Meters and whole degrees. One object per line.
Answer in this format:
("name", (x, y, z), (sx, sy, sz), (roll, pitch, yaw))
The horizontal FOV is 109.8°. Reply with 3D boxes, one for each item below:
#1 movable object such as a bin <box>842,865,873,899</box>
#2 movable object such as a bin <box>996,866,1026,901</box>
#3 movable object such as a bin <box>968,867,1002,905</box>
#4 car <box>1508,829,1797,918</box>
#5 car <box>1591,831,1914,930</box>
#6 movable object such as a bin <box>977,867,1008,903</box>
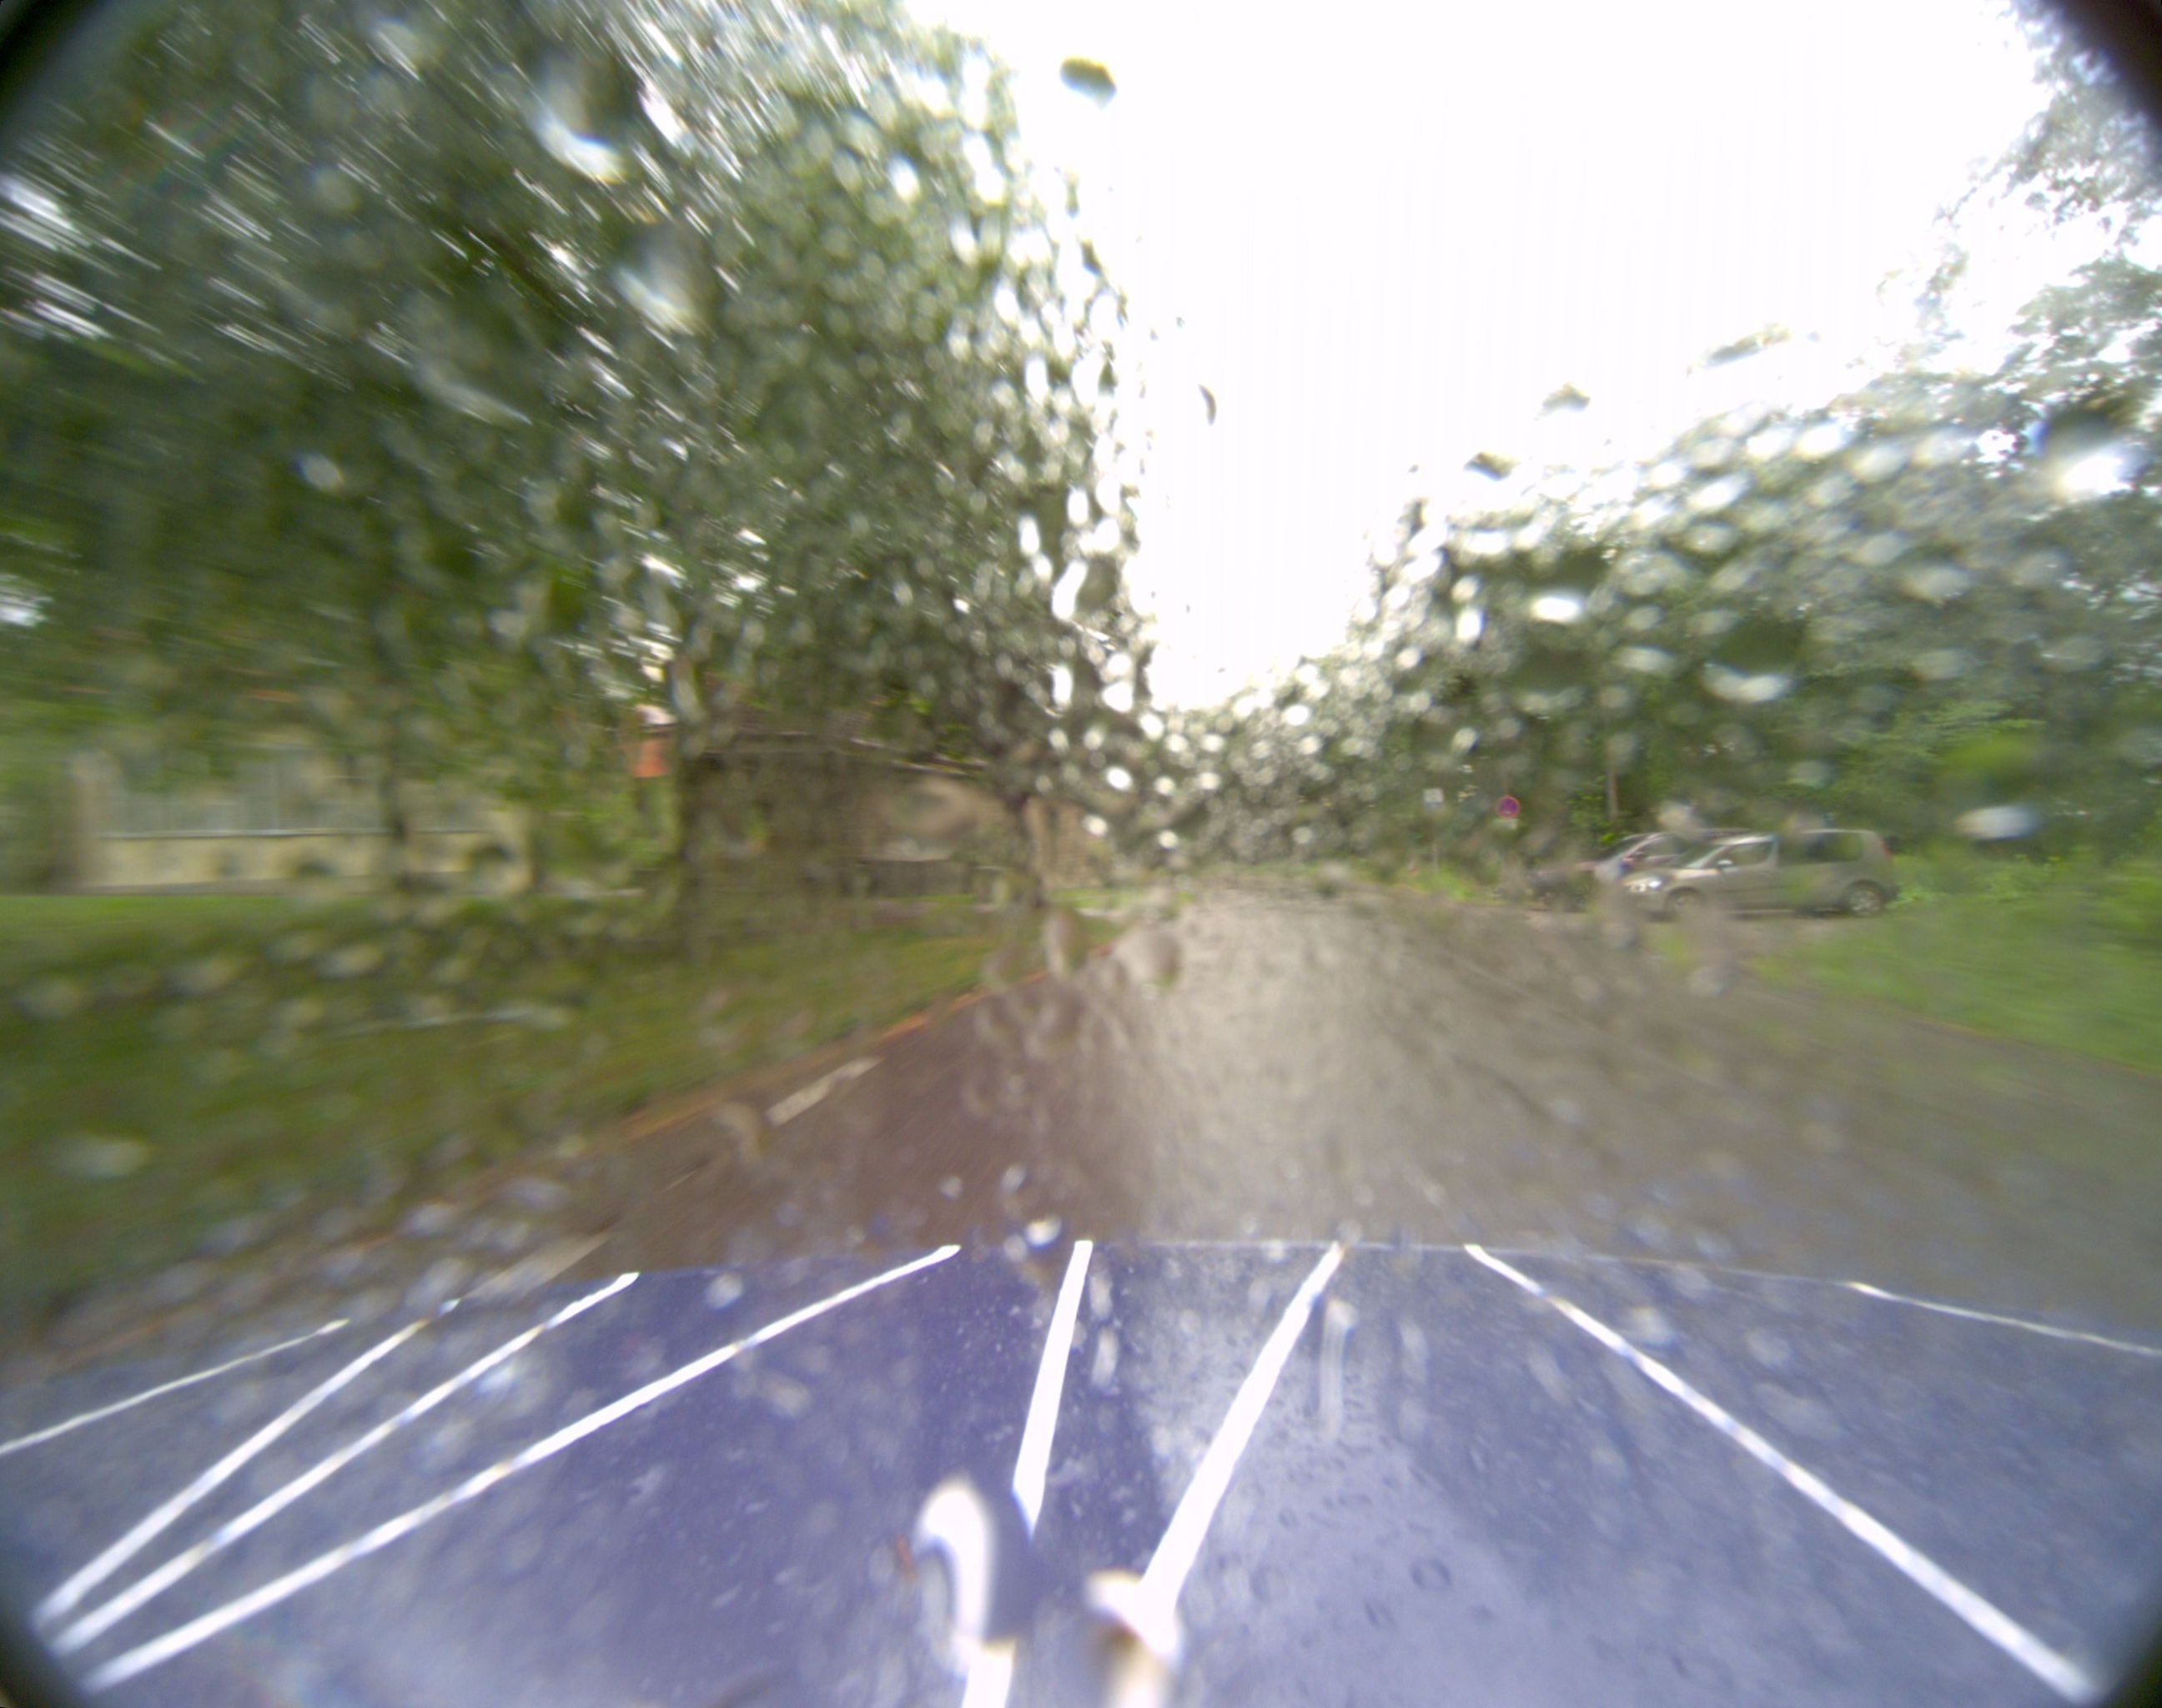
("movable object such as a bin", (-6.183, 0.767, 21.027), (0.551, 0.902, 0.535), (5, 2, 23))
("movable object such as a bin", (-2.226, 0.945, 24.265), (0.696, 1.034, 0.577), (5, 2, 23))
("movable object such as a bin", (-2.828, 0.931, 22.436), (0.696, 1.034, 0.661), (5, 2, 23))
("car", (12.711, 0.460, 17.264), (4.832, 1.667, 1.878), (-3, -1, 13))
("car", (12.353, 0.508, 14.314), (4.142, 1.545, 1.776), (-4, -1, 15))
("movable object such as a bin", (-2.684, 0.936, 23.079), (0.696, 1.034, 0.577), (5, 2, 23))
